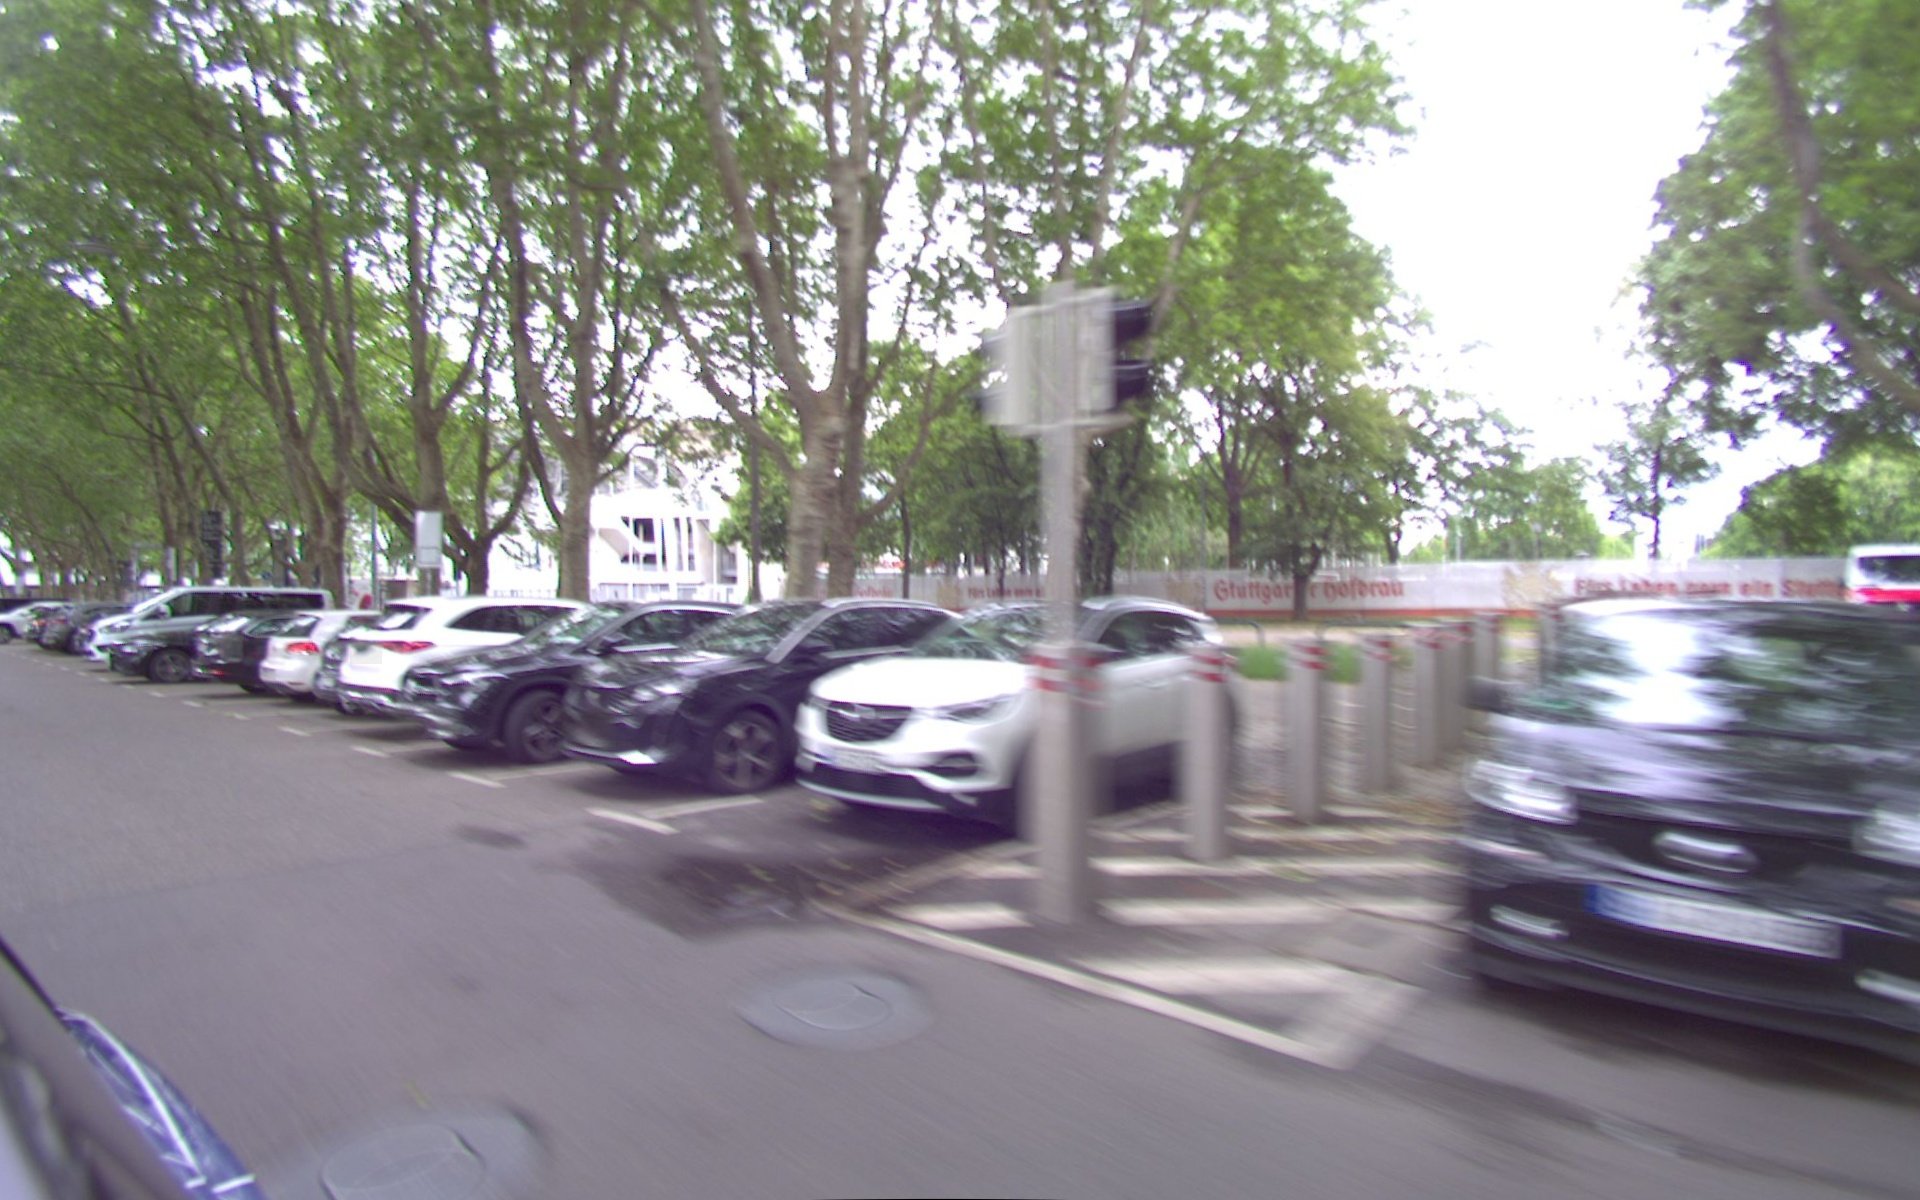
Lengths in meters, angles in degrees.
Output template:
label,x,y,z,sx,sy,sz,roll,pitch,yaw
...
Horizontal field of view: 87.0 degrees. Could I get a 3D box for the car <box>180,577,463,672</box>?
label,x,y,z,sx,sy,sz,roll,pitch,yaw
car,-11.119,0.411,17.840,1.536,1.482,3.953,-1,-1,41

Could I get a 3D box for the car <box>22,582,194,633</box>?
label,x,y,z,sx,sy,sz,roll,pitch,yaw
car,-27.394,0.273,32.642,1.841,1.487,3.947,0,-2,39

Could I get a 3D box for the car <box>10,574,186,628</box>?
label,x,y,z,sx,sy,sz,roll,pitch,yaw
car,-29.707,0.074,34.984,1.998,1.680,4.297,0,-2,39

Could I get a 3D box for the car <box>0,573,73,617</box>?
label,x,y,z,sx,sy,sz,roll,pitch,yaw
car,-49.198,-0.253,51.826,1.938,2.144,5.381,-1,-2,39

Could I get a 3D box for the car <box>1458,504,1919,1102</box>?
label,x,y,z,sx,sy,sz,roll,pitch,yaw
car,3.530,0.583,4.433,1.692,1.620,3.790,0,-1,38

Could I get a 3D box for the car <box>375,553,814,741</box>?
label,x,y,z,sx,sy,sz,roll,pitch,yaw
car,-3.715,0.442,10.797,1.799,1.620,4.023,0,-1,43

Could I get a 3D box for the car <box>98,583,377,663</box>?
label,x,y,z,sx,sy,sz,roll,pitch,yaw
car,-14.673,0.467,20.732,1.775,1.463,4.397,0,-1,45

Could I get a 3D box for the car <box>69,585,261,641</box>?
label,x,y,z,sx,sy,sz,roll,pitch,yaw
car,-22.089,0.393,28.225,1.682,1.424,3.944,0,-2,41

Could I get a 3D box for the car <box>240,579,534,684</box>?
label,x,y,z,sx,sy,sz,roll,pitch,yaw
car,-9.180,0.503,16.421,1.863,1.485,3.718,0,-2,40

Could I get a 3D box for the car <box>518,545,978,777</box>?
label,x,y,z,sx,sy,sz,roll,pitch,yaw
car,-1.702,0.460,9.142,1.832,1.620,3.790,0,-1,38

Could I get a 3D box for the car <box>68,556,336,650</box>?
label,x,y,z,sx,sy,sz,roll,pitch,yaw
car,-18.157,0.120,24.491,1.917,2.034,4.847,0,-1,38

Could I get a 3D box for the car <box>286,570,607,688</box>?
label,x,y,z,sx,sy,sz,roll,pitch,yaw
car,-7.285,0.398,14.668,1.692,1.482,3.790,0,-1,38

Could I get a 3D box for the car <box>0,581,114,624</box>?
label,x,y,z,sx,sy,sz,roll,pitch,yaw
car,-35.857,0.107,39.289,1.998,1.609,4.336,0,-1,39

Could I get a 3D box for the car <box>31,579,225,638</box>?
label,x,y,z,sx,sy,sz,roll,pitch,yaw
car,-25.633,0.305,31.308,1.998,1.680,4.297,0,-2,39

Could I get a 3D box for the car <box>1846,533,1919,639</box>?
label,x,y,z,sx,sy,sz,roll,pitch,yaw
car,22.291,-0.377,23.887,1.999,2.269,5.940,0,1,41

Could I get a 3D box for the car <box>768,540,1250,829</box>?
label,x,y,z,sx,sy,sz,roll,pitch,yaw
car,0.626,0.502,7.784,1.692,1.620,4.004,1,-1,38

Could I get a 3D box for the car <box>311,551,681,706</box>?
label,x,y,z,sx,sy,sz,roll,pitch,yaw
car,-5.704,0.334,12.800,1.950,1.640,3.790,0,-1,38

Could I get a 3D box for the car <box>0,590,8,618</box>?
label,x,y,z,sx,sy,sz,roll,pitch,yaw
car,-67.823,0.232,68.451,2.207,1.939,4.853,0,-1,42
